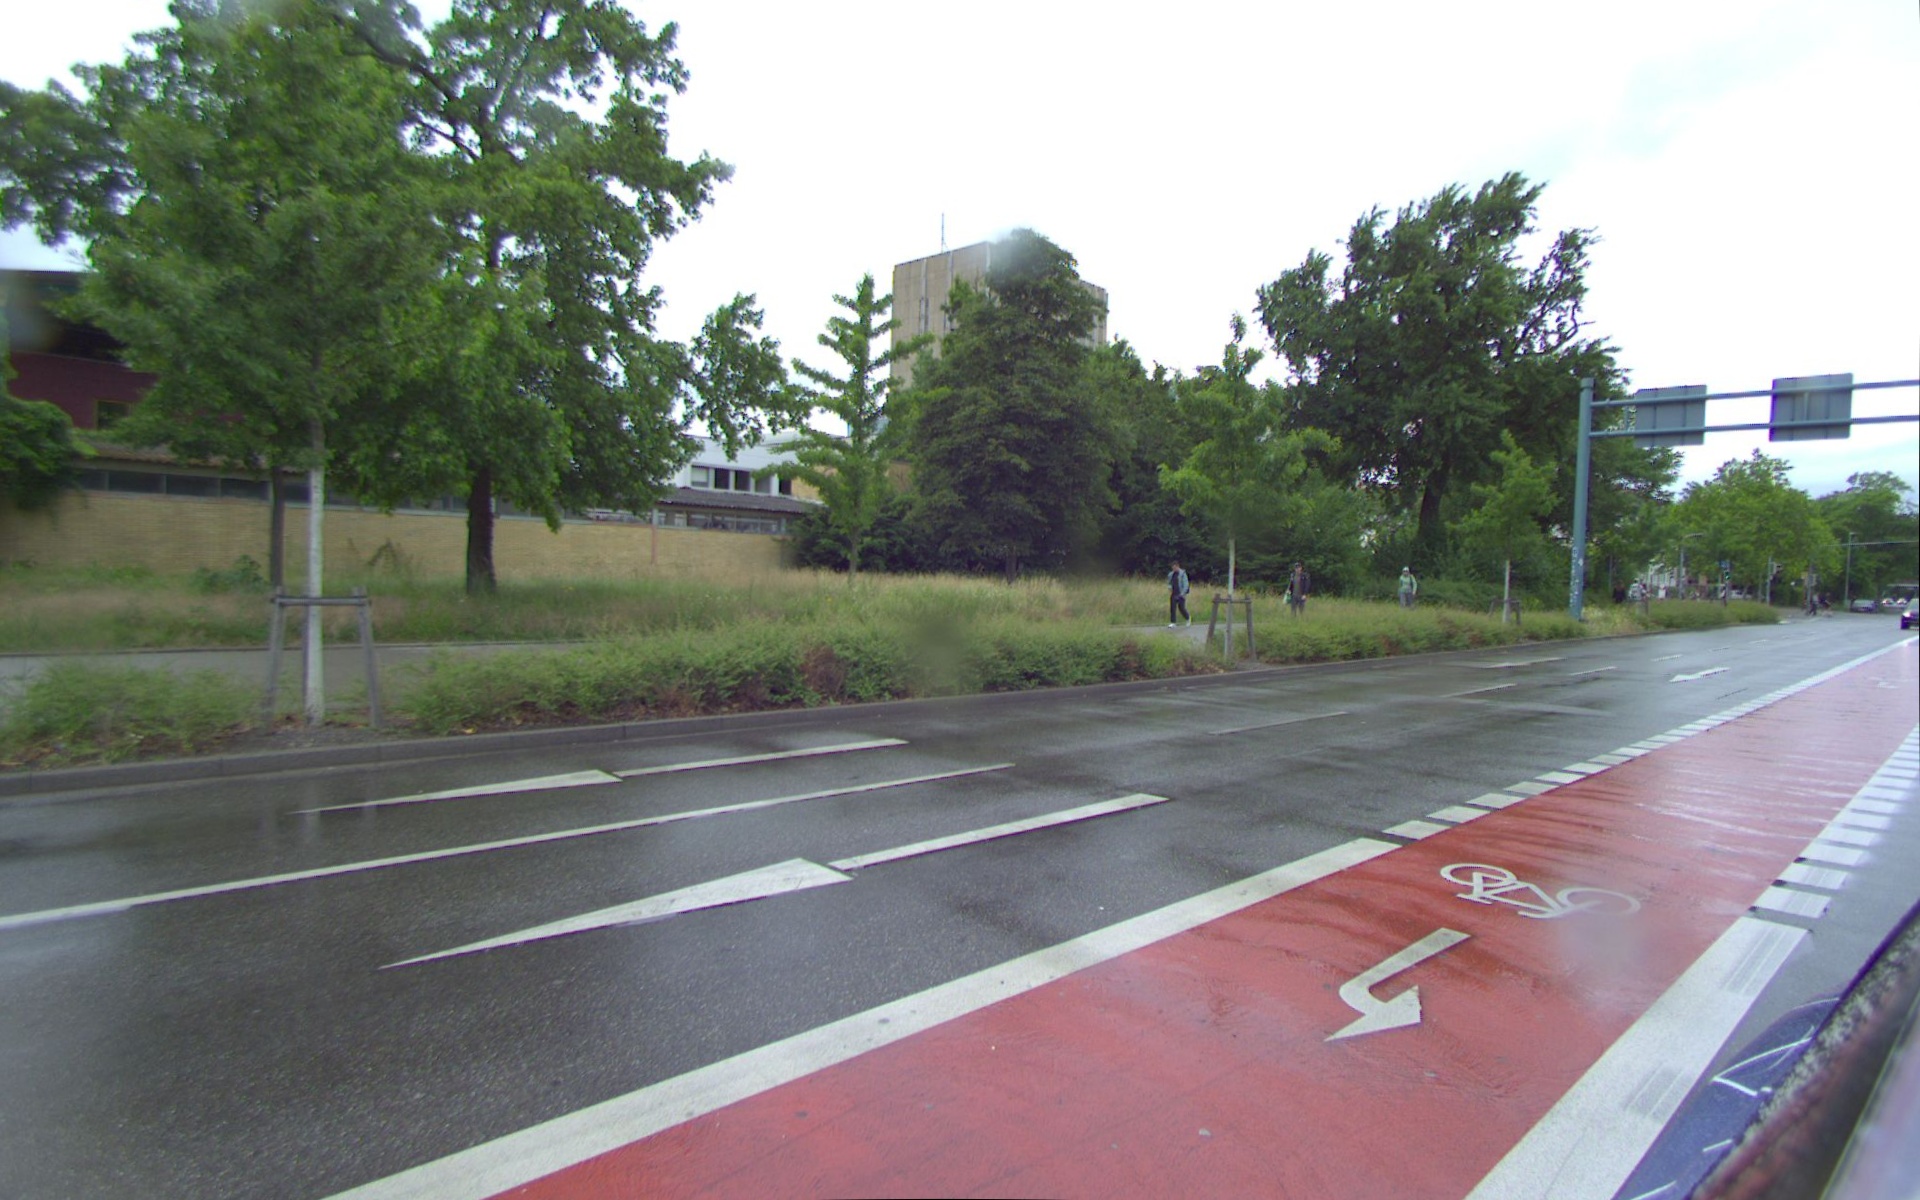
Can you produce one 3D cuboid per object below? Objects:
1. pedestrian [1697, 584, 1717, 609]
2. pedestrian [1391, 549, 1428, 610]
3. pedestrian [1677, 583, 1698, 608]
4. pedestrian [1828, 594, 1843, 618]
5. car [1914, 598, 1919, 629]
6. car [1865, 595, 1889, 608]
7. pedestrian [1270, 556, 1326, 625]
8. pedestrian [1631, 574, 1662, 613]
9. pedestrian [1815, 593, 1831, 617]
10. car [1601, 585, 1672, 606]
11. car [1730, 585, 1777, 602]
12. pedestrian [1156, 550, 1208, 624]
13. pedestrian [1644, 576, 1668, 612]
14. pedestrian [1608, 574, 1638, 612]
[{"bbox_3d":[50.495,-0.223,68.439,0.868,1.627,0.857,3,2,24],"label":"pedestrian"},{"bbox_3d":[15.156,-0.697,34.125,0.813,2.038,0.793,1,2,-38],"label":"pedestrian"},{"bbox_3d":[49.554,-0.302,68.936,0.866,1.627,0.859,2,2,18],"label":"pedestrian"},{"bbox_3d":[69.727,0.452,80.616,0.618,1.847,0.780,3,2,24],"label":"pedestrian"},{"bbox_3d":[45.207,0.655,46.698,1.657,1.381,4.042,4,3,44],"label":"car"},{"bbox_3d":[96.347,0.139,106.311,1.657,1.282,4.042,4,3,44],"label":"car"},{"bbox_3d":[8.944,-0.251,26.809,1.026,1.769,0.936,1,2,-38],"label":"pedestrian"},{"bbox_3d":[31.632,-0.305,46.632,0.814,1.743,0.935,4,-1,-39],"label":"pedestrian"},{"bbox_3d":[68.588,0.417,80.428,0.616,1.847,0.783,2,1,16],"label":"pedestrian"},{"bbox_3d":[53.164,-0.376,79.584,4.375,1.353,1.747,4,5,43],"label":"car"},{"bbox_3d":[97.517,-0.836,124.392,4.405,1.895,1.615,4,2,39],"label":"car"},{"bbox_3d":[5.568,-0.330,25.403,0.813,1.819,0.936,1,2,-37],"label":"pedestrian"},{"bbox_3d":[36.551,-0.310,53.143,0.835,1.882,0.732,1,2,-38],"label":"pedestrian"},{"bbox_3d":[31.159,-0.339,47.558,0.814,1.725,0.935,4,-1,-39],"label":"pedestrian"}]
